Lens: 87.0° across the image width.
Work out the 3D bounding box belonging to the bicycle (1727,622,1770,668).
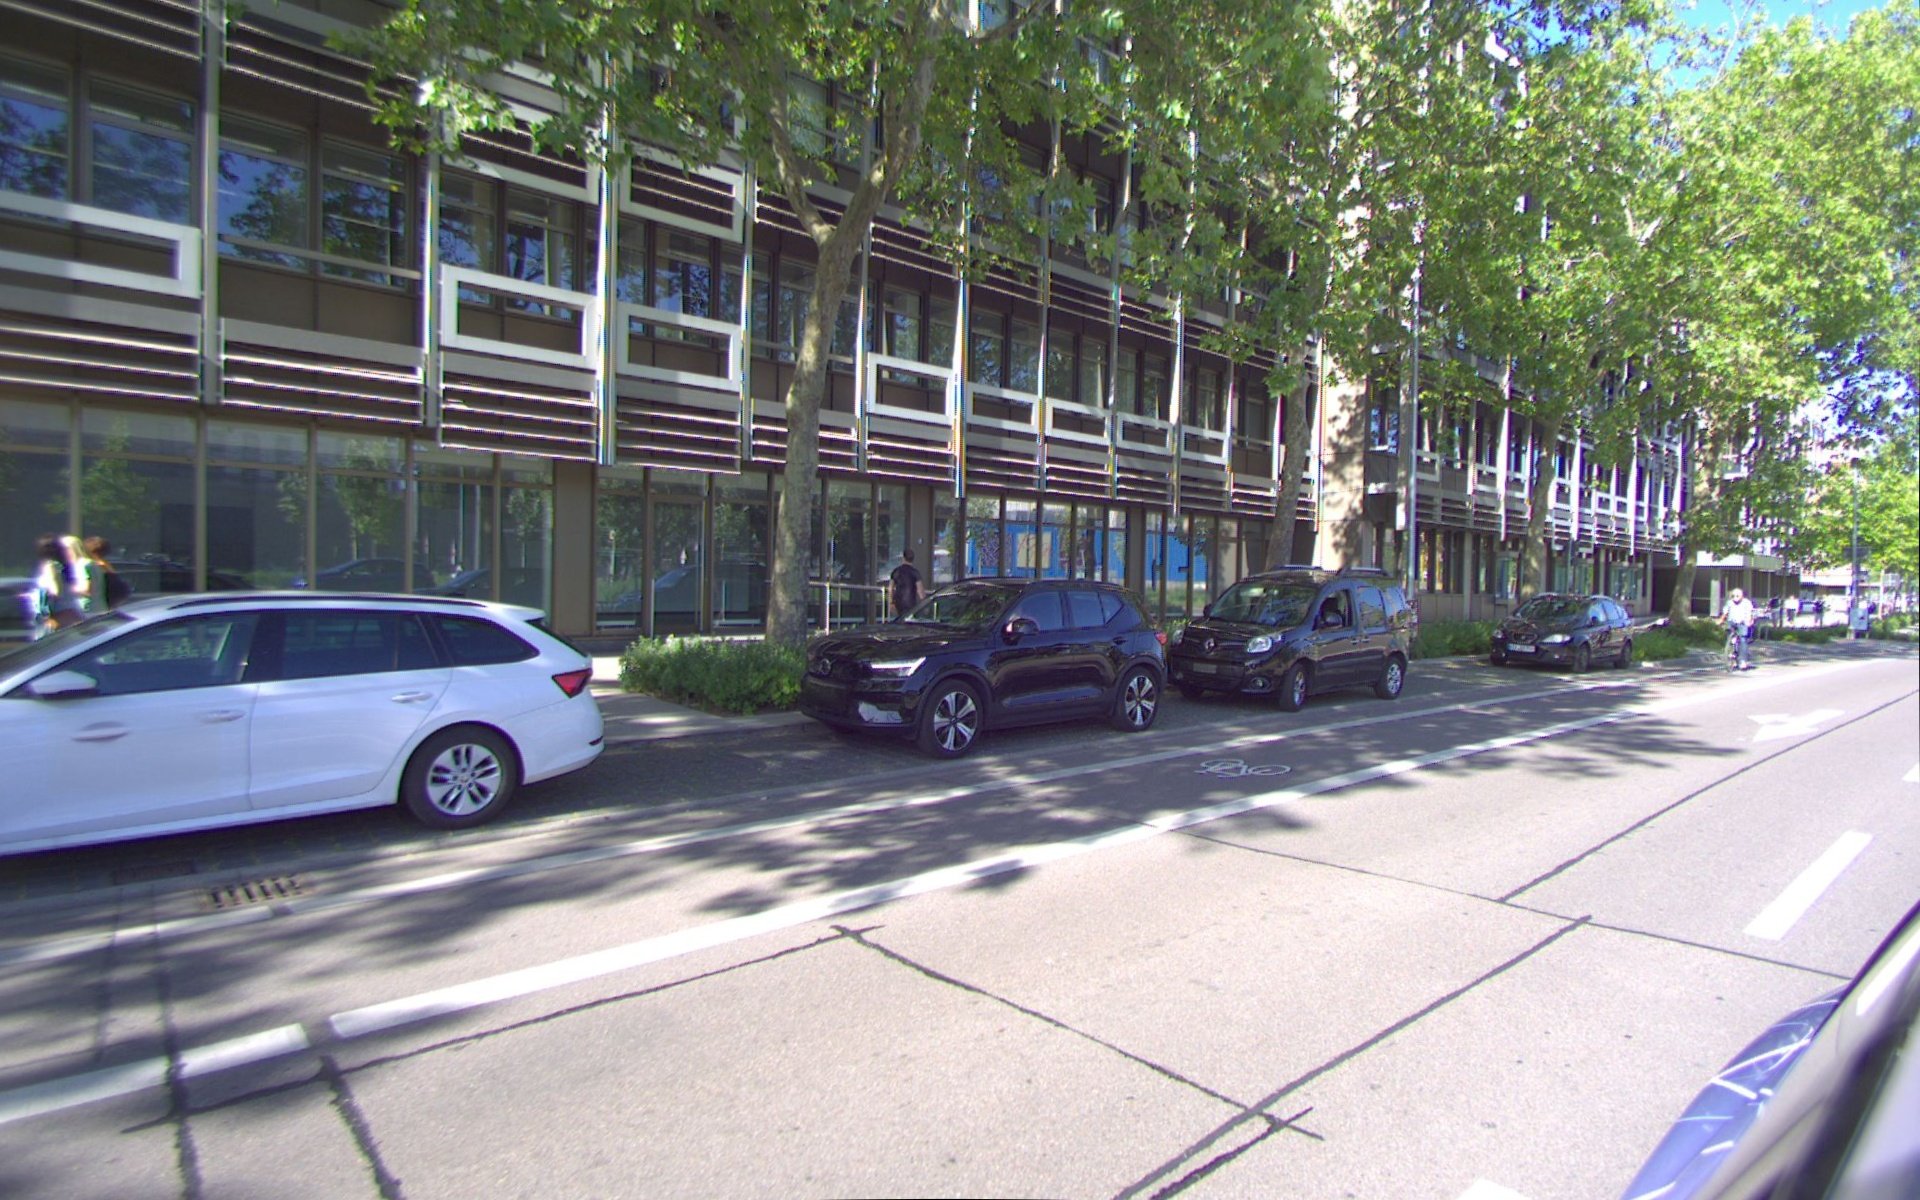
[{"bbox_3d":[17.270,0.958,22.150,0.497,0.917,2.161,-1,-1,44],"label":"bicycle"}]

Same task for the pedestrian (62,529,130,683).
[{"bbox_3d":[-9.253,0.062,10.842,0.314,1.604,0.494,1,0,41],"label":"pedestrian"}]

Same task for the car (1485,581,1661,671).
[{"bbox_3d":[13.136,0.491,21.576,4.552,1.663,1.709,0,3,-39],"label":"car"}]

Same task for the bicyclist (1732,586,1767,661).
[{"bbox_3d":[17.316,0.500,22.194,0.513,1.621,0.528,2,1,45],"label":"bicyclist"}]

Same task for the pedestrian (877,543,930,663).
[{"bbox_3d":[-0.942,0.044,16.837,0.547,1.941,0.678,-1,0,-40],"label":"pedestrian"}]

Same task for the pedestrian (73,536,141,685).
[{"bbox_3d":[-9.621,0.108,11.421,0.563,1.623,0.554,1,0,-40],"label":"pedestrian"}]

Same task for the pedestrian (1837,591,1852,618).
[{"bbox_3d":[49.210,0.244,56.289,0.723,1.493,0.511,1,0,-42],"label":"pedestrian"}]

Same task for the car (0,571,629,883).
[{"bbox_3d":[-4.556,0.606,6.161,4.519,1.511,1.707,0,1,-41],"label":"car"}]

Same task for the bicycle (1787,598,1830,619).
[{"bbox_3d":[50.685,0.522,60.447,0.419,1.111,1.863,0,3,-39],"label":"bicycle"}]

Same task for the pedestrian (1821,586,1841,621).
[{"bbox_3d":[43.776,0.179,50.857,0.789,1.749,0.648,1,0,-42],"label":"pedestrian"}]

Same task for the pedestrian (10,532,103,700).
[{"bbox_3d":[-8.998,0.144,10.082,0.505,1.604,0.626,1,0,41],"label":"pedestrian"}]

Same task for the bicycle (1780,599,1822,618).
[{"bbox_3d":[51.332,0.530,61.784,0.419,1.023,1.863,0,3,-39],"label":"bicycle"}]

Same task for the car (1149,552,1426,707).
[{"bbox_3d":[4.646,0.332,14.068,4.118,1.811,1.708,0,3,-41],"label":"car"}]

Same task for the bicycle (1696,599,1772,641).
[{"bbox_3d":[26.123,0.658,34.169,0.569,1.252,1.939,1,3,-43],"label":"bicycle"}]

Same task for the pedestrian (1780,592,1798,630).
[{"bbox_3d":[38.299,0.498,46.740,0.760,1.722,0.511,1,0,-42],"label":"pedestrian"}]

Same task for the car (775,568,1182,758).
[{"bbox_3d":[0.332,0.497,10.431,4.119,1.583,1.707,0,1,-41],"label":"car"}]
